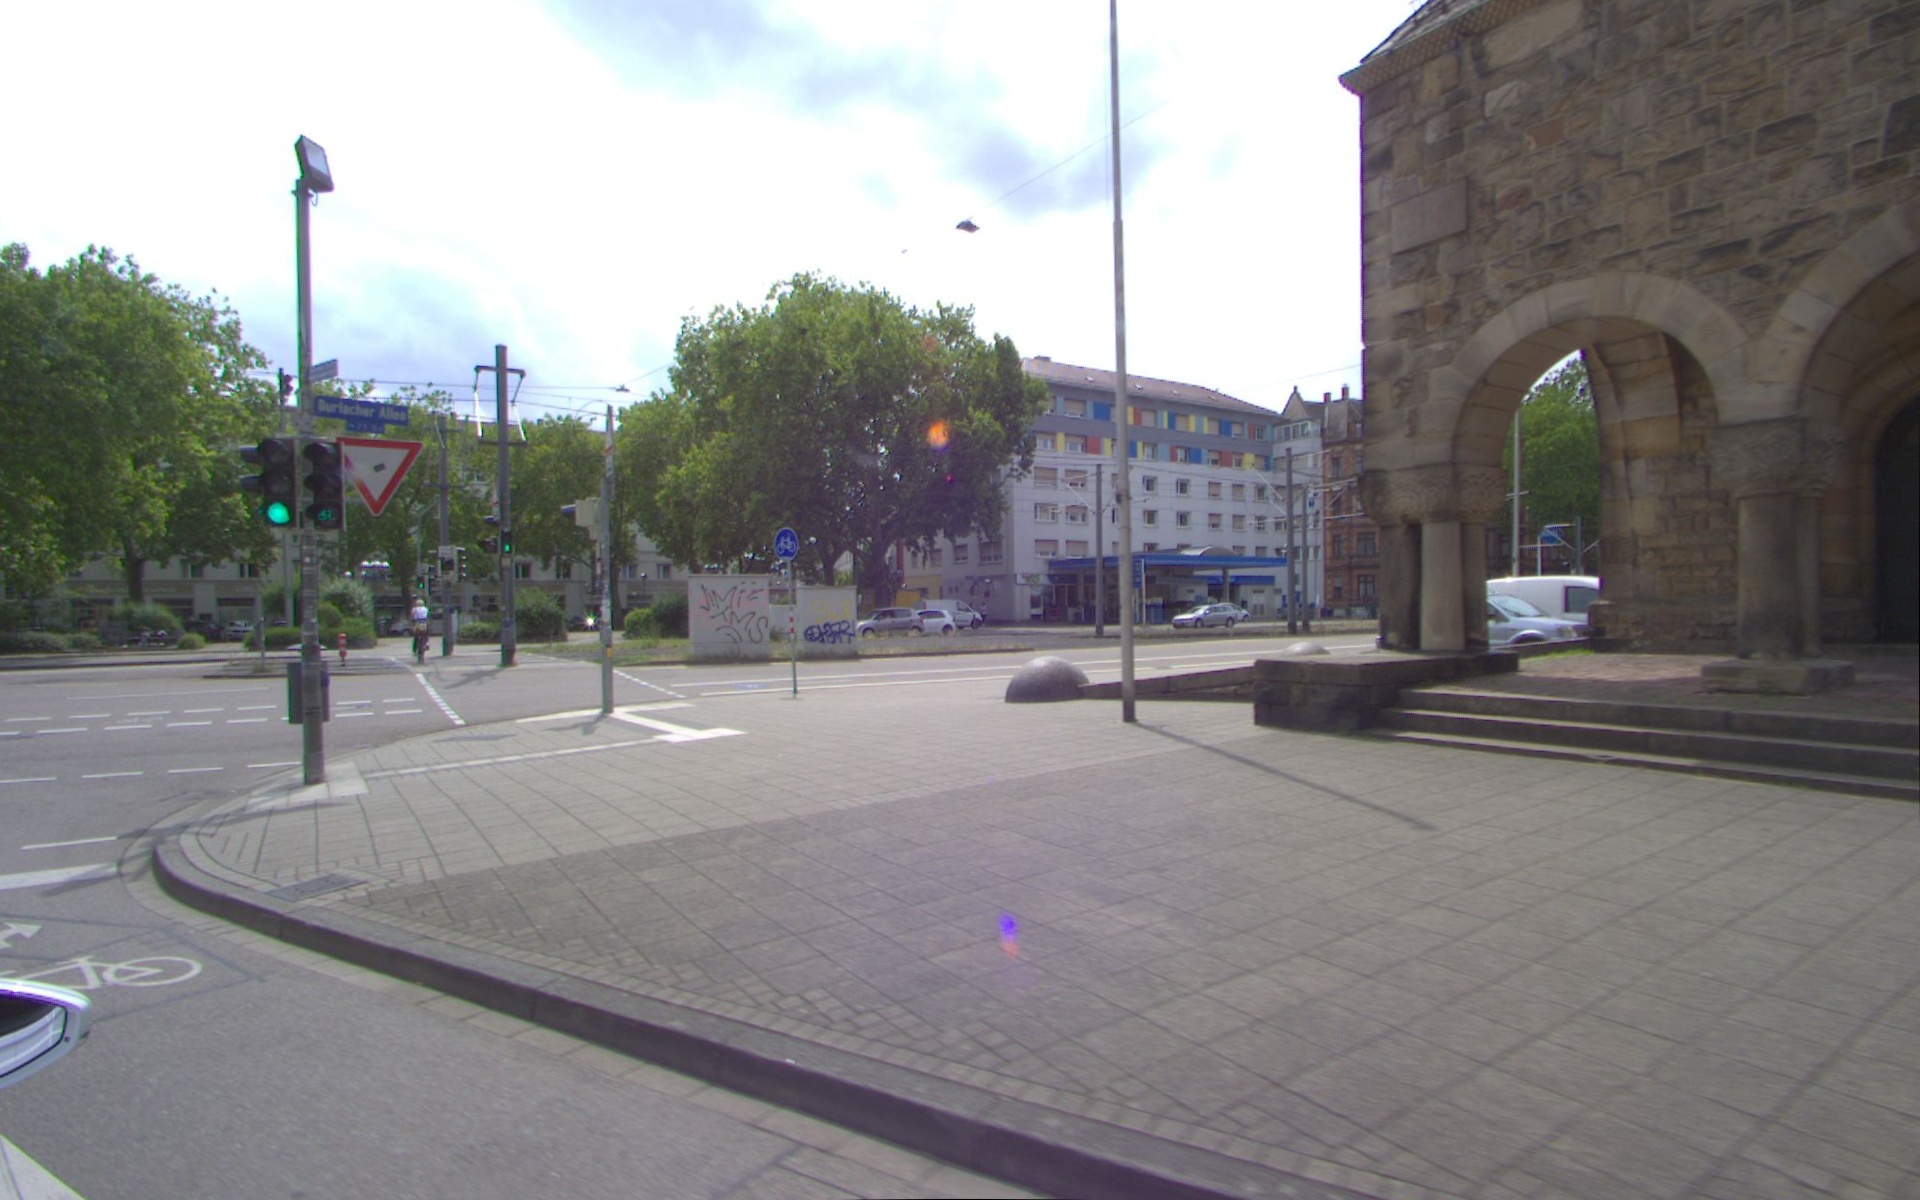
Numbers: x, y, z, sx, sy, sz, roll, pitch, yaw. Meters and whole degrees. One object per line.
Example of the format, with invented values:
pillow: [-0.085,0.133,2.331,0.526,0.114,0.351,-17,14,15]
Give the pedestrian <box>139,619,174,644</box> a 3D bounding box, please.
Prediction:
pedestrian: [-42.759,1.652,53.262,1.423,1.252,1.087,-2,1,37]

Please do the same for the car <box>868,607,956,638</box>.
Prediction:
car: [-2.400,1.104,49.965,4.020,1.433,1.751,-1,-1,-30]

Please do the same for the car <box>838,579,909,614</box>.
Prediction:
car: [-6.877,-0.262,80.161,5.269,2.618,2.165,0,-1,-36]

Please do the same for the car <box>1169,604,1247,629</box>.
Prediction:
car: [15.283,1.026,61.662,4.731,1.418,1.751,-1,-1,-30]

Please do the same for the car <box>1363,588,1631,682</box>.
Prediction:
car: [9.943,0.597,18.816,1.992,1.563,4.003,-1,0,-33]

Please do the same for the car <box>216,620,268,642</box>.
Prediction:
car: [-51.672,2.203,72.020,3.949,1.523,1.986,-1,0,37]

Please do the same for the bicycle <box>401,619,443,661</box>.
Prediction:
bicycle: [-14.643,1.058,27.234,0.893,1.089,1.959,-1,0,-31]

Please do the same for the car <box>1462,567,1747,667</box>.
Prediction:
car: [12.641,0.325,19.922,1.925,1.748,4.395,-1,0,-33]

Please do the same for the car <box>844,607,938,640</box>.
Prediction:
car: [-3.128,1.059,45.488,3.941,1.418,1.617,-1,-1,-30]

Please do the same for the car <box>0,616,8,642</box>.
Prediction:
car: [-63.136,1.886,64.686,3.949,1.706,1.798,-1,0,37]

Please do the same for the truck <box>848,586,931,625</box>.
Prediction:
truck: [-5.012,0.382,70.443,3.040,2.612,6.469,-1,0,-34]

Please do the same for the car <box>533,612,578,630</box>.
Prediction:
car: [-34.057,1.771,84.367,3.949,1.523,1.760,-1,0,37]

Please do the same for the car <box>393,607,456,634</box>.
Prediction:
car: [-39.430,1.496,73.803,3.946,1.908,1.846,-1,0,-33]

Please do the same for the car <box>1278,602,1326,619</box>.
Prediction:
car: [30.523,0.916,89.331,4.409,1.433,1.749,0,0,-33]

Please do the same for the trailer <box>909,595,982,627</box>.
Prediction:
trailer: [-0.921,0.685,64.263,4.376,1.951,1.843,-1,0,-33]

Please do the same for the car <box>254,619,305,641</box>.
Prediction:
car: [-50.062,2.190,73.649,3.949,1.539,1.986,-1,0,37]

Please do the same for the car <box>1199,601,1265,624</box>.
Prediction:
car: [19.711,0.914,72.433,4.553,1.535,1.985,-1,-1,-31]

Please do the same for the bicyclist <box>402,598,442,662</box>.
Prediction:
bicyclist: [-14.614,0.794,27.212,0.894,1.706,0.752,-1,0,-33]
